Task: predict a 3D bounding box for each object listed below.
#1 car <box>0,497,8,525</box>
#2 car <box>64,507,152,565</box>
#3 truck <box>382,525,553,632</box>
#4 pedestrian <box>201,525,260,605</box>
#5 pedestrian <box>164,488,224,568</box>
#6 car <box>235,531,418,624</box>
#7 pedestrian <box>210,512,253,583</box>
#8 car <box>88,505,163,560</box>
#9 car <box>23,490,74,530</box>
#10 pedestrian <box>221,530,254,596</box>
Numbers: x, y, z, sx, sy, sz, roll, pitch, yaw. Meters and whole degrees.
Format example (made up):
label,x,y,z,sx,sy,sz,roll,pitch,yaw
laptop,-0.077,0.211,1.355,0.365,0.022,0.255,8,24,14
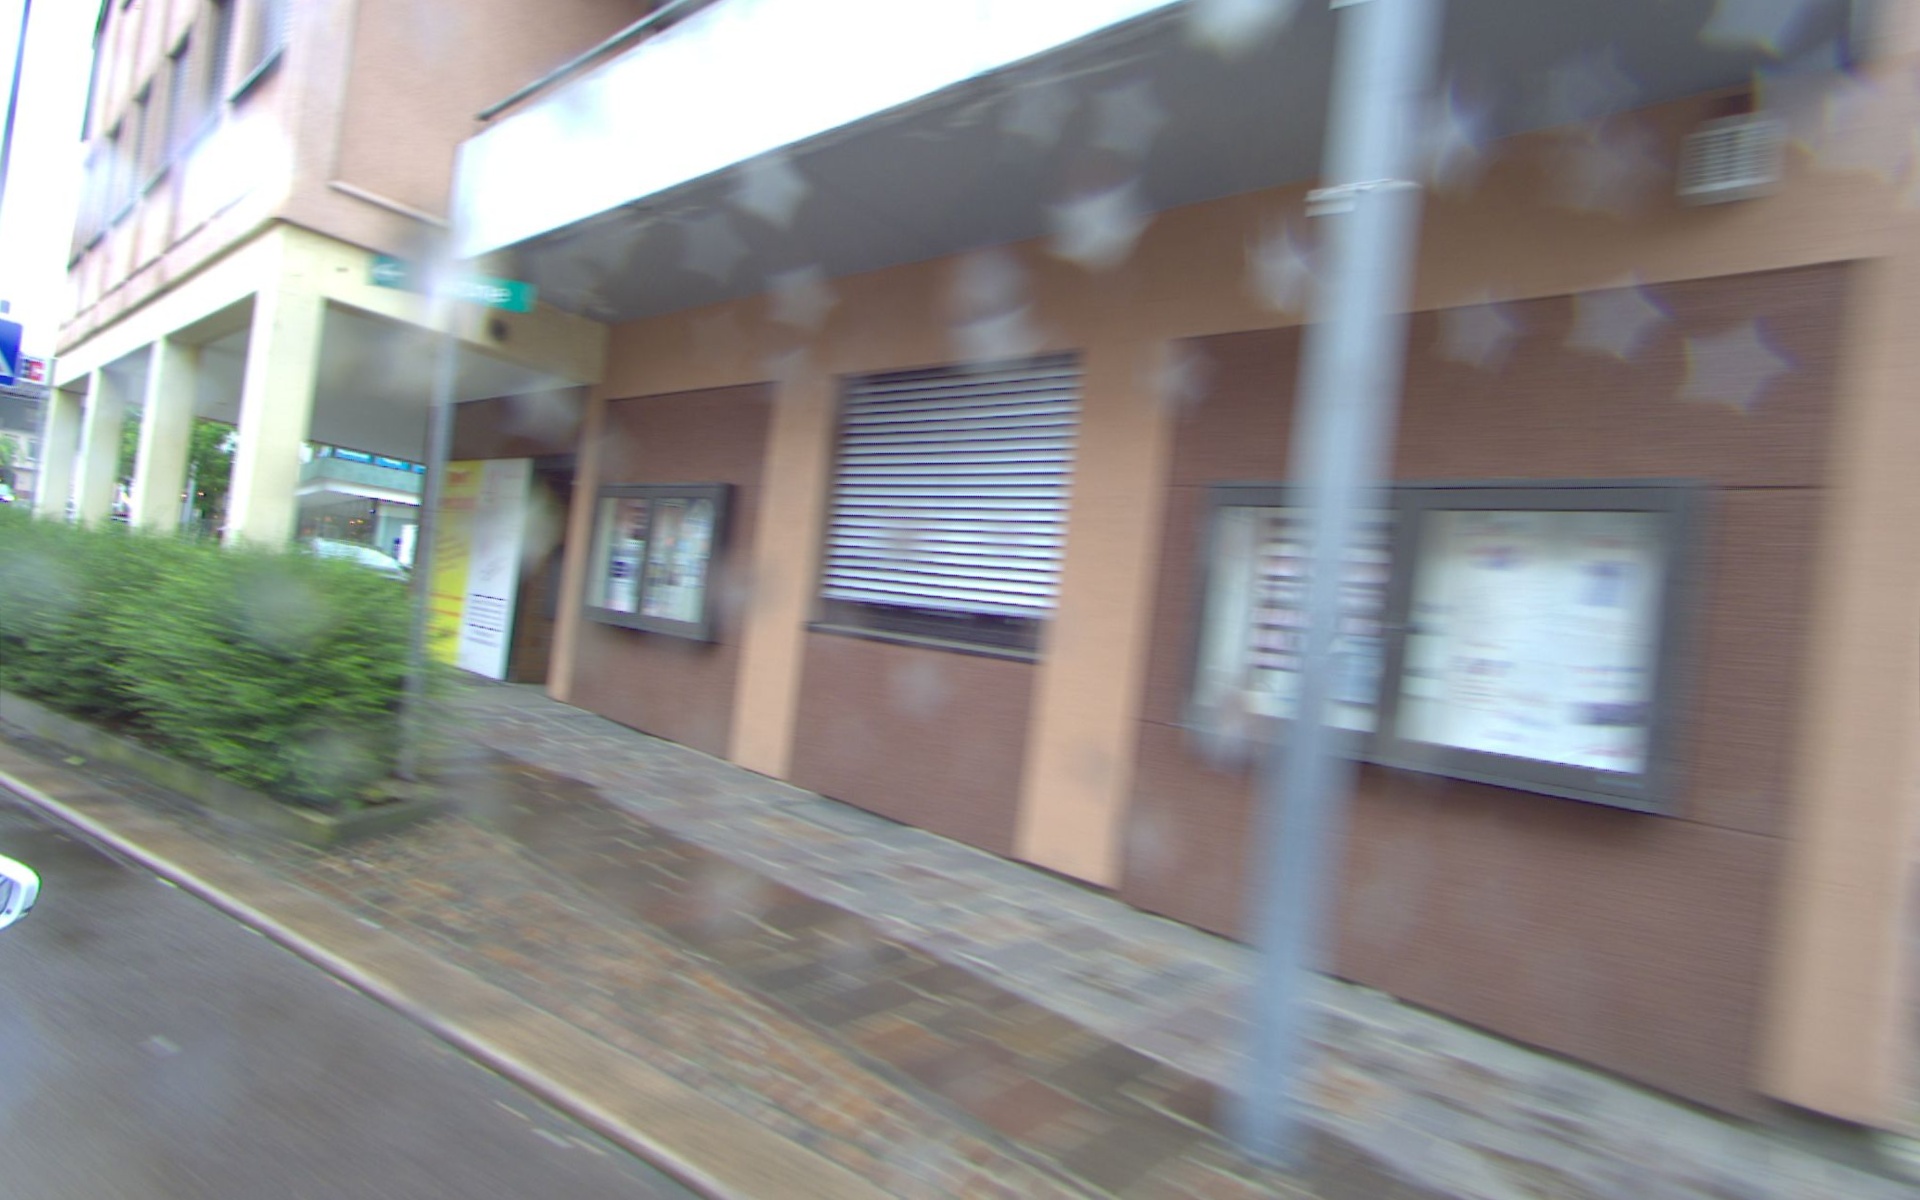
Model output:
label,x,y,z,sx,sy,sz,roll,pitch,yaw
car,-62.361,-5.815,64.559,1.581,1.732,3.282,8,-2,-42
car,-24.133,-1.800,28.587,1.527,1.379,3.341,6,0,-35
truck,-10.463,-0.492,21.255,3.946,1.829,1.760,6,-2,42
pedestrian,-16.628,-0.786,22.939,0.714,1.709,0.731,7,-1,-17
pedestrian,-17.285,-1.604,22.721,0.688,1.681,0.818,7,-1,-19
car,-11.949,-0.466,18.842,4.412,1.291,1.760,5,-2,43
pedestrian,-19.454,-1.407,26.848,0.730,1.769,0.883,7,-1,-38
car,-27.081,-2.208,32.609,1.617,1.520,3.952,5,1,-42
car,-47.848,-4.698,52.854,1.668,1.732,3.285,8,-2,-40
pedestrian,-17.659,-0.902,24.579,0.494,1.527,0.485,7,-1,-39
